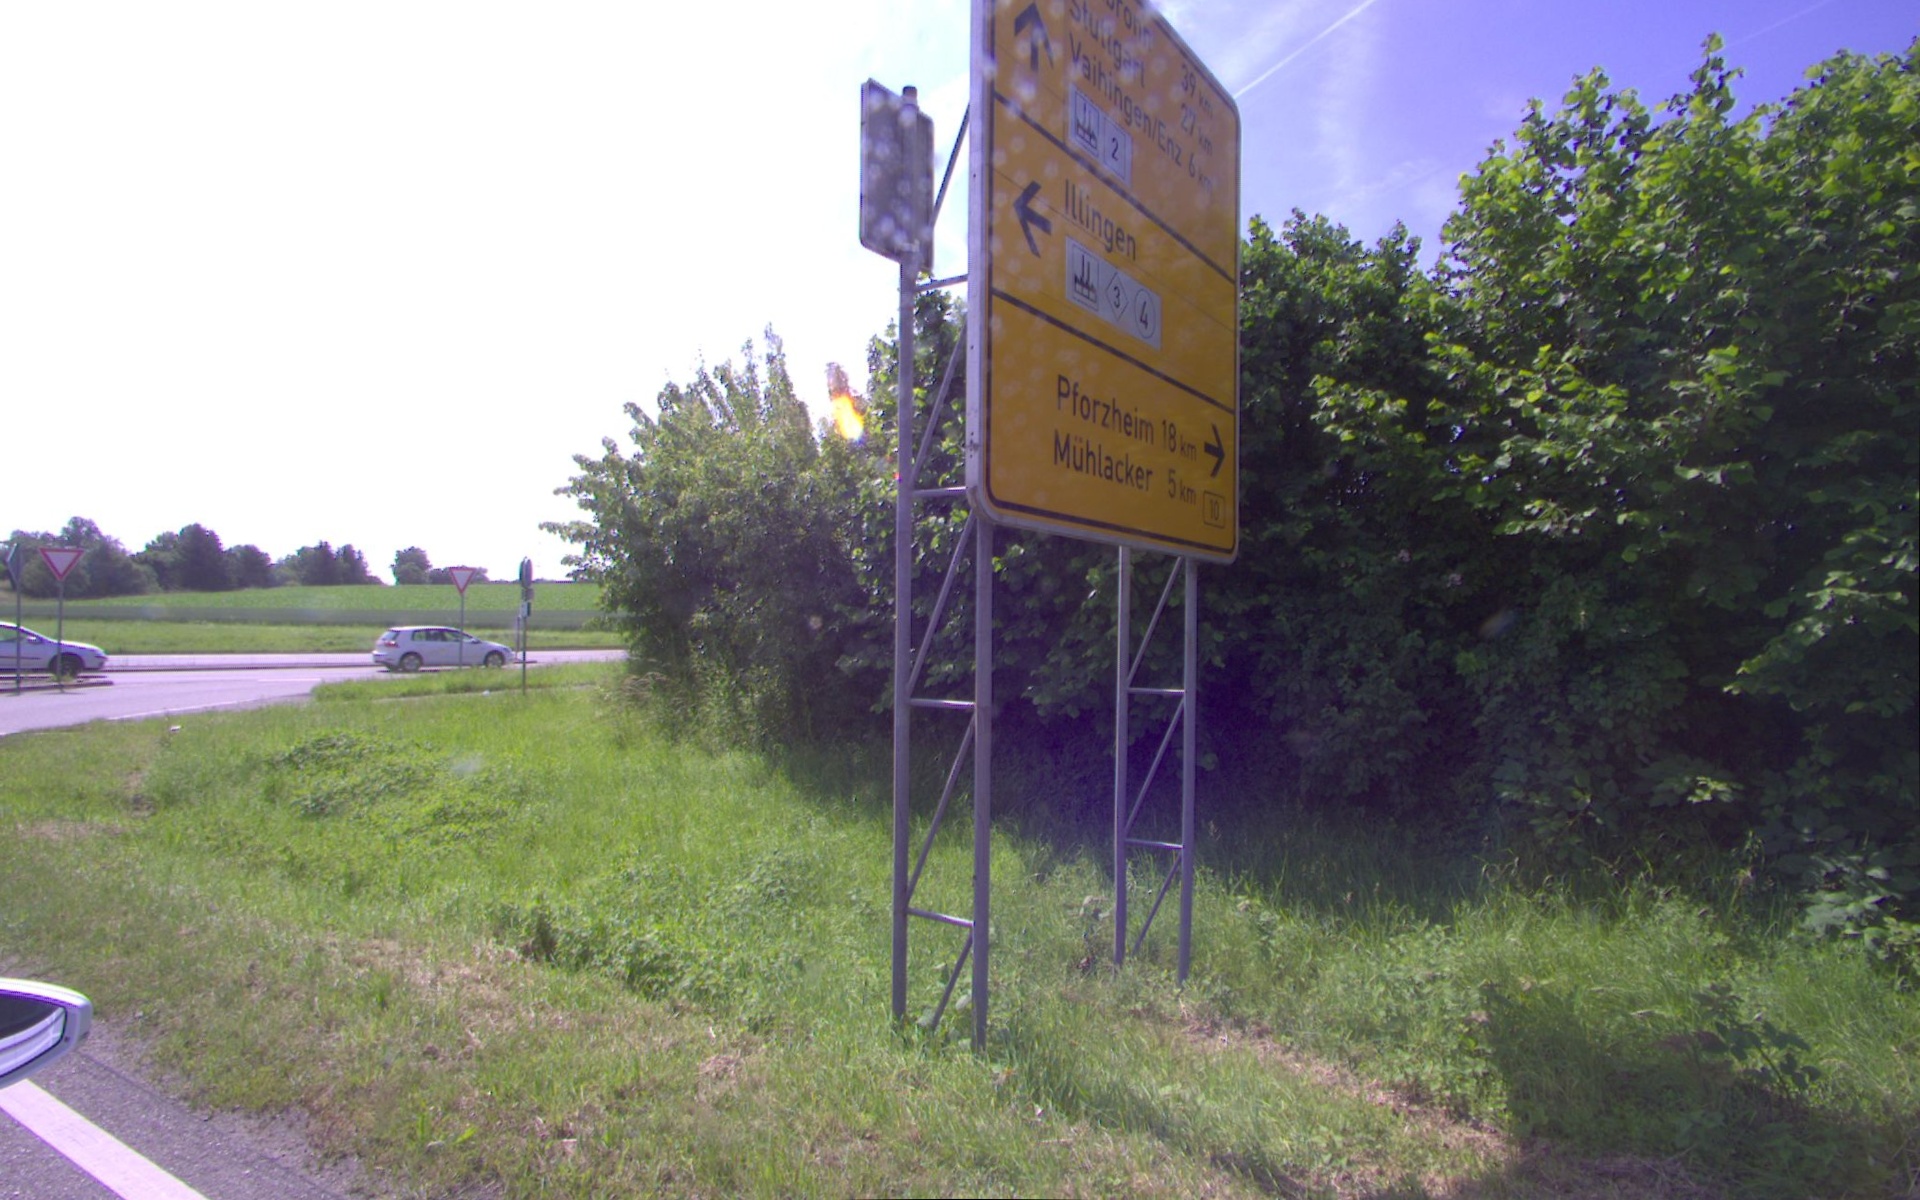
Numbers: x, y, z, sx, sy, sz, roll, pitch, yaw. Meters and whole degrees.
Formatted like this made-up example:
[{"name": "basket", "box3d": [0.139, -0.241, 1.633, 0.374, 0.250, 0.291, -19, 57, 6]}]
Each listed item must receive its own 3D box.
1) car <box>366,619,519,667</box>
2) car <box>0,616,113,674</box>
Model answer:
[{"name": "car", "box3d": [-17.278, 1.427, 33.563, 1.790, 1.480, 4.224, 0, -2, 43]}, {"name": "car", "box3d": [-24.742, 1.149, 26.018, 1.776, 1.435, 4.012, 0, -1, 44]}]
